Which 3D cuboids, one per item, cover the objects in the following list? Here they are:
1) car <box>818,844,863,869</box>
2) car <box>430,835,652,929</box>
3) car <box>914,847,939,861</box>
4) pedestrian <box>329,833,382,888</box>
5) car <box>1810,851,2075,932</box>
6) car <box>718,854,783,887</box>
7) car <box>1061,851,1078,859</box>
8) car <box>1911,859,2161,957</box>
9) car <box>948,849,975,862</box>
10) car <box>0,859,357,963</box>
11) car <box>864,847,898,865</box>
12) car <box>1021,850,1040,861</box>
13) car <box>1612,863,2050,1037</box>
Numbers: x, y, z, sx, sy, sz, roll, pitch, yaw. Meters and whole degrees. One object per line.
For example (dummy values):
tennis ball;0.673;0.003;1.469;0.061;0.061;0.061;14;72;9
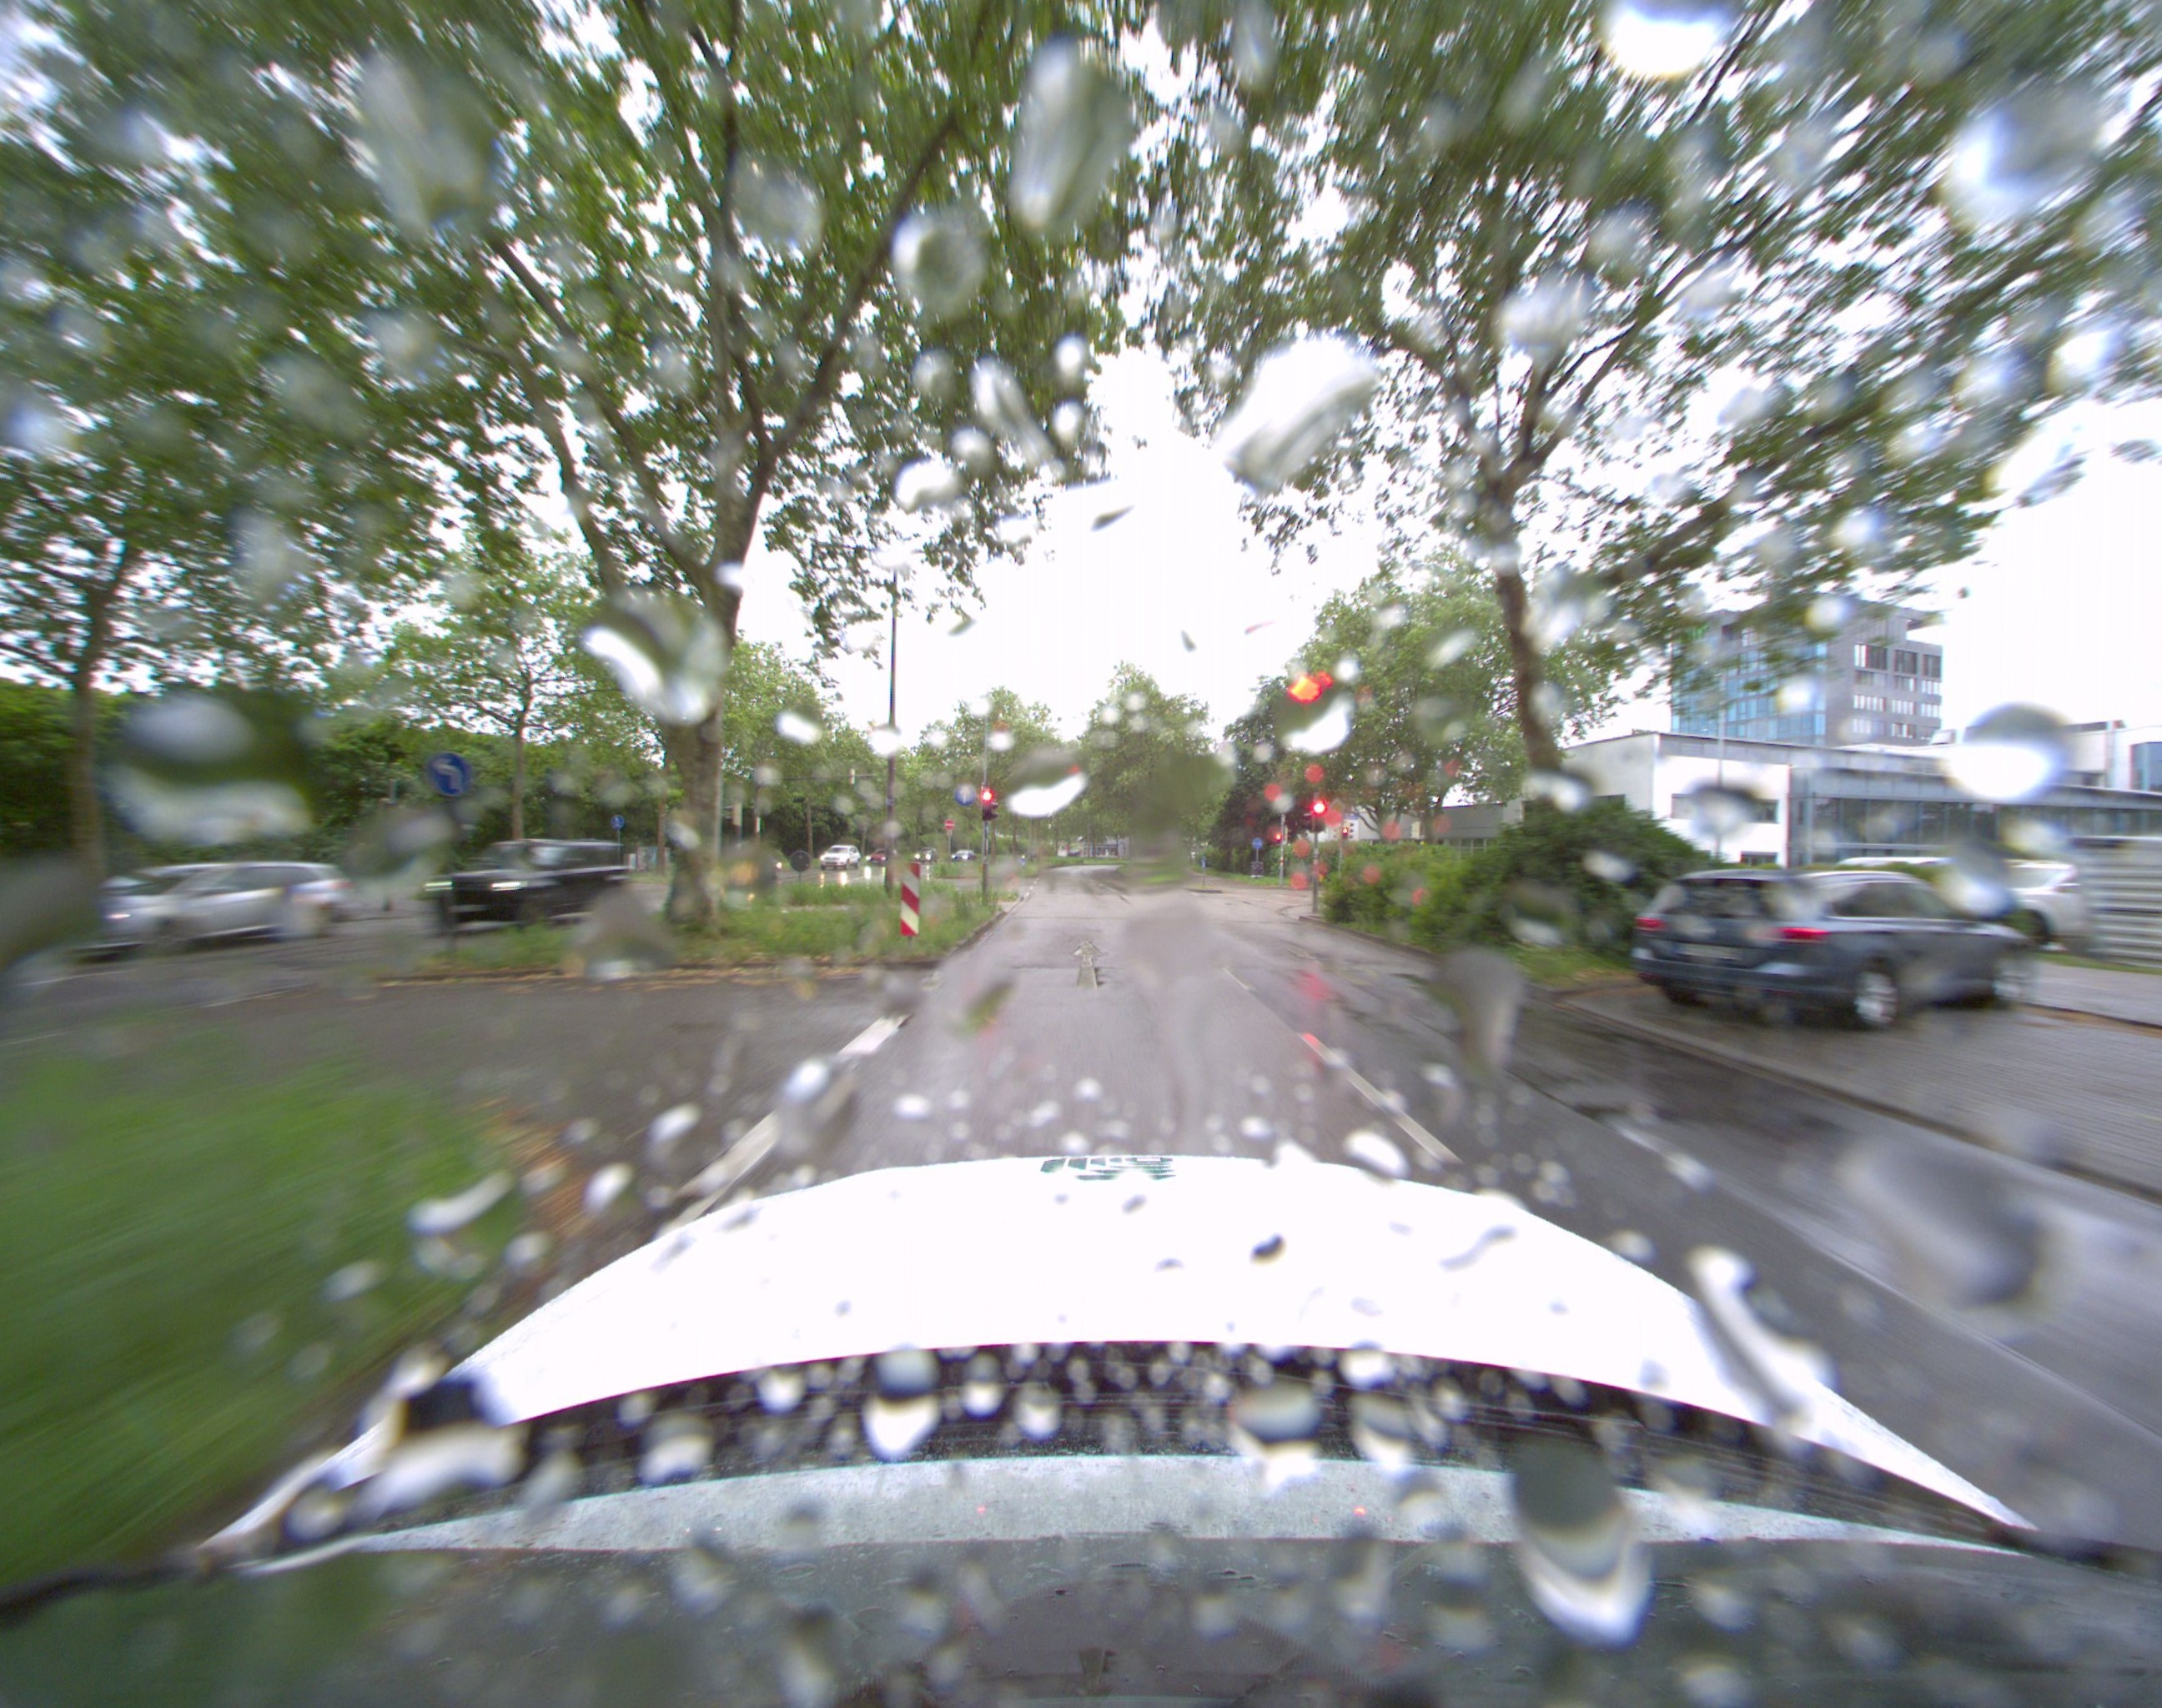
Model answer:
car;-16.758;0.156;56.925;1.737;1.631;4.445;1;0;1
car;-11.895;0.549;18.481;1.739;1.842;5.116;1;0;-2
car;-15.142;-0.015;80.056;1.580;1.373;3.338;1;0;5
pedestrian;-22.697;0.198;25.498;0.828;1.674;0.899;1;0;-2
car;19.896;0.827;18.919;4.528;1.757;1.778;1;0;-4
car;-16.598;0.771;41.101;1.740;1.438;4.439;1;1;-4
car;-2.882;0.260;201.867;3.986;2.014;1.993;1;-2;-10
car;19.356;1.015;15.933;4.524;1.757;1.748;1;0;-1
car;-13.344;0.133;90.944;1.576;1.373;4.276;1;0;12
car;-15.202;0.846;14.022;1.739;1.476;4.232;1;0;-2
car;-16.464;0.190;67.241;1.738;1.408;4.444;1;0;0
car;-7.092;0.212;114.928;1.577;1.373;4.274;1;0;10
car;7.978;0.846;8.636;4.500;1.459;1.736;1;0;-23
